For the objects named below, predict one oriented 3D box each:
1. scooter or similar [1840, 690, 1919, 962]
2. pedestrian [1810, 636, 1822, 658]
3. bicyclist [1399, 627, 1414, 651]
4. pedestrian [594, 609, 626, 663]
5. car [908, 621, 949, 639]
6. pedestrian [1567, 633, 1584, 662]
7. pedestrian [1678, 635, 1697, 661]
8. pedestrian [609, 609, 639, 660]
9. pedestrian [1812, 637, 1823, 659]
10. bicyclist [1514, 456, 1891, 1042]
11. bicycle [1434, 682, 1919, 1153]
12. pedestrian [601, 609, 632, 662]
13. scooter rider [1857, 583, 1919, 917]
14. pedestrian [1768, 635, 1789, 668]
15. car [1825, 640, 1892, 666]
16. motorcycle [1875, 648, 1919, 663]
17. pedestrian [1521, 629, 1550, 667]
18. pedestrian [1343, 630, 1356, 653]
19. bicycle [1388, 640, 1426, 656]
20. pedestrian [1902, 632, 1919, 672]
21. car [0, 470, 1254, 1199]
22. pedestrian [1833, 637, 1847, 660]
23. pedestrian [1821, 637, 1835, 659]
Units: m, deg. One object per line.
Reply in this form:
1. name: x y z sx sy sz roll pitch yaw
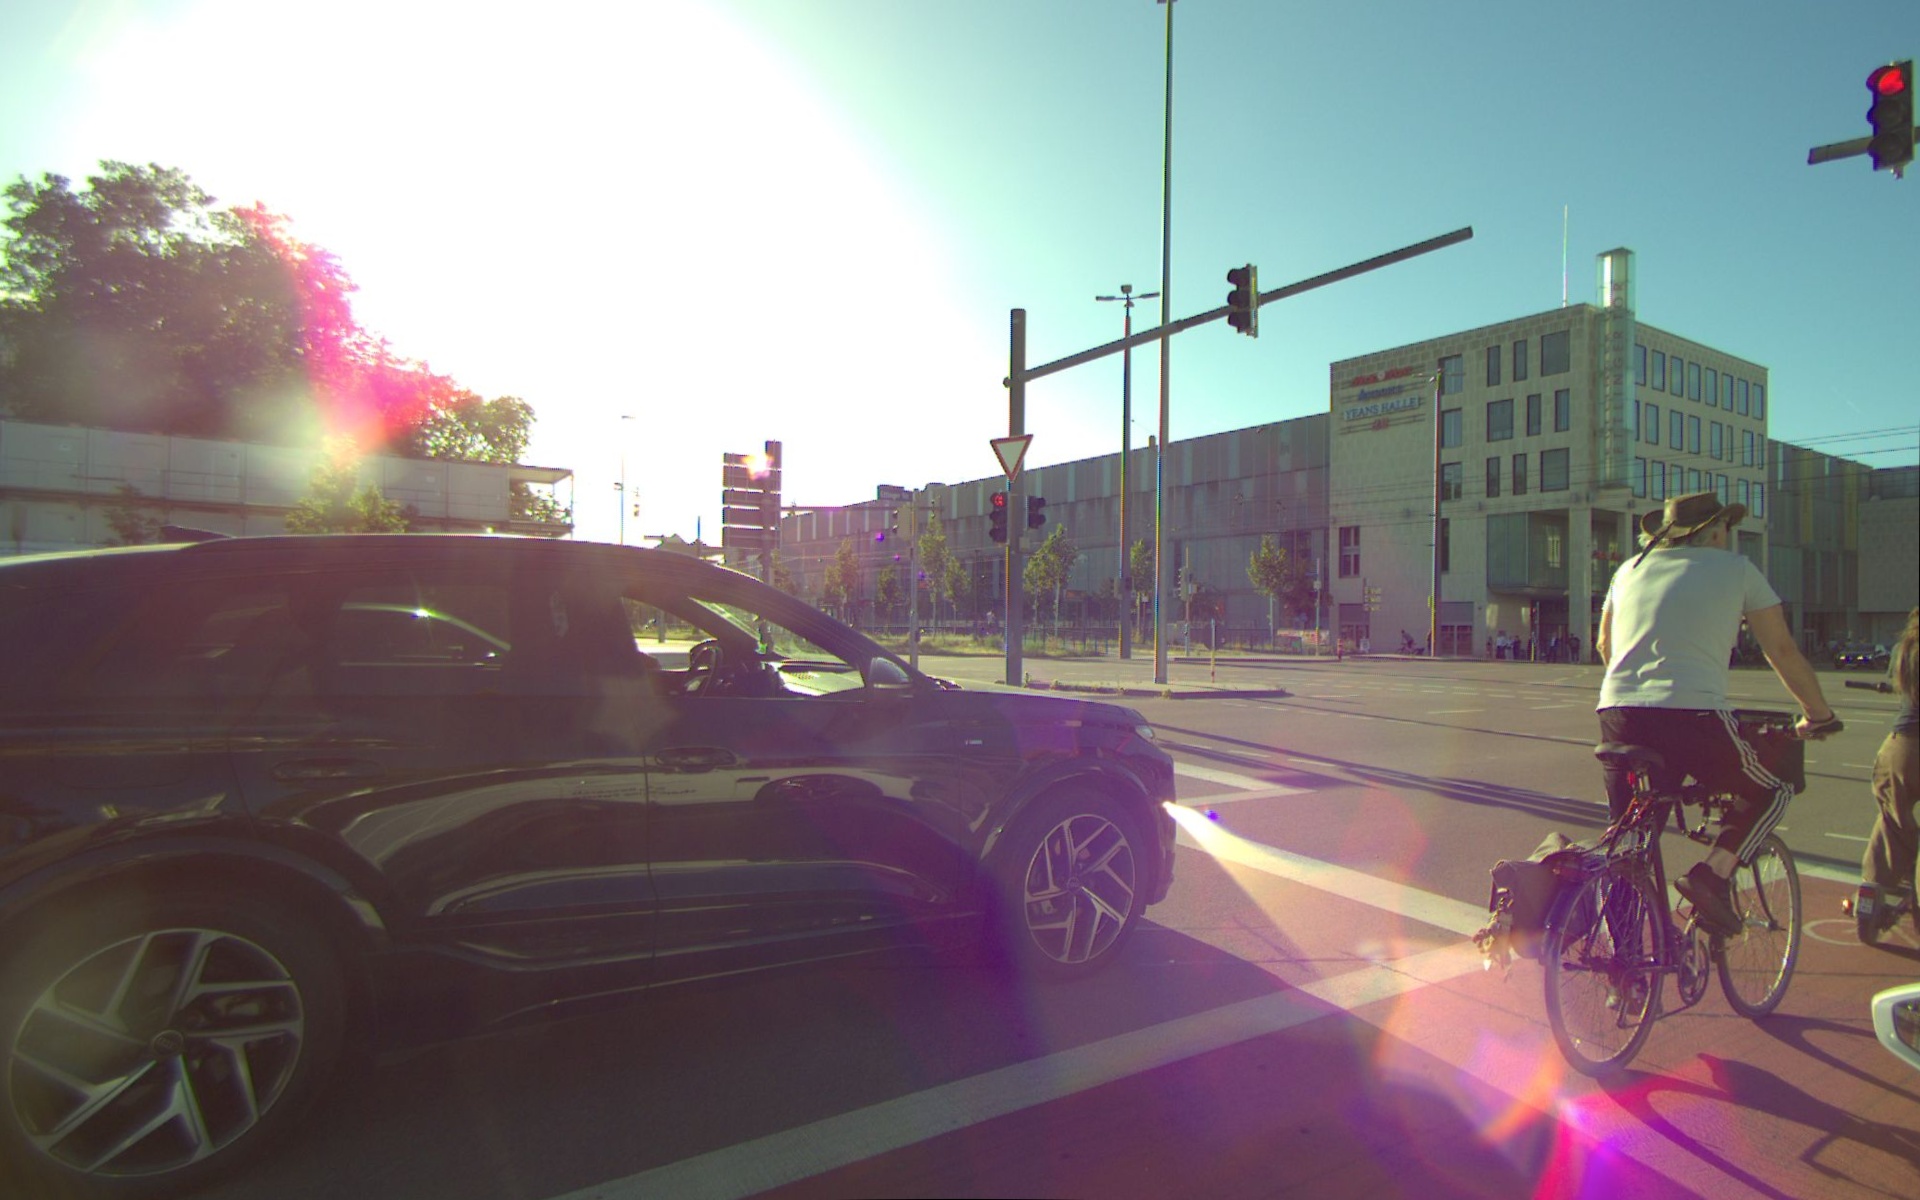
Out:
1. scooter or similar: 4.377 1.007 4.688 0.832 1.122 0.303 2 -1 -42
2. pedestrian: 69.286 3.808 81.295 0.510 1.752 0.472 2 0 9
3. bicyclist: 27.777 2.411 62.478 0.621 1.467 0.584 1 -1 -31
4. pedestrian: -10.870 1.117 31.219 0.736 1.632 0.716 2 0 -5
5. car: -3.121 2.891 98.028 1.806 1.706 4.817 1 -2 -33
6. pedestrian: 35.802 2.761 58.435 0.622 1.667 0.589 1 -1 -30
7. pedestrian: 46.260 3.056 63.908 0.615 1.660 0.777 1 -1 -13
8. pedestrian: -11.009 1.121 32.884 0.736 1.632 0.716 2 0 -5
9. pedestrian: 70.181 3.958 82.196 0.510 1.752 0.472 2 0 9
10. bicyclist: 2.575 0.449 3.521 0.842 1.723 0.802 1 -1 -30
11. bicycle: 2.540 0.903 3.452 1.868 1.162 0.735 1 -1 -30
12. pedestrian: -10.928 1.119 31.958 0.736 1.632 0.716 2 0 -5
13. scooter rider: 4.662 0.698 4.755 0.445 1.550 0.548 1 -1 -38
14. pedestrian: 43.666 2.739 53.615 0.612 1.710 0.697 1 -1 -29
15. car: 49.677 2.903 55.511 3.975 1.375 1.668 1 -1 -31
16. motorcycle: 70.575 4.163 75.476 1.106 1.006 2.582 2 0 -38
17. pedestrian: 26.180 2.191 45.692 0.994 1.697 0.818 1 -1 -33
18. pedestrian: 27.251 2.895 70.260 0.622 1.562 0.589 1 -1 -30
19. bicycle: 27.785 2.978 62.427 0.630 0.915 2.199 1 -2 -31
20. pedestrian: 46.341 2.505 48.622 0.529 1.889 0.943 1 -1 -13
21. car: -1.248 0.609 4.044 4.613 1.729 2.153 1 0 -32
22. pedestrian: 69.576 3.808 79.412 0.681 1.752 0.472 2 0 9
23. pedestrian: 68.741 3.783 79.549 0.615 1.752 0.472 2 0 4
